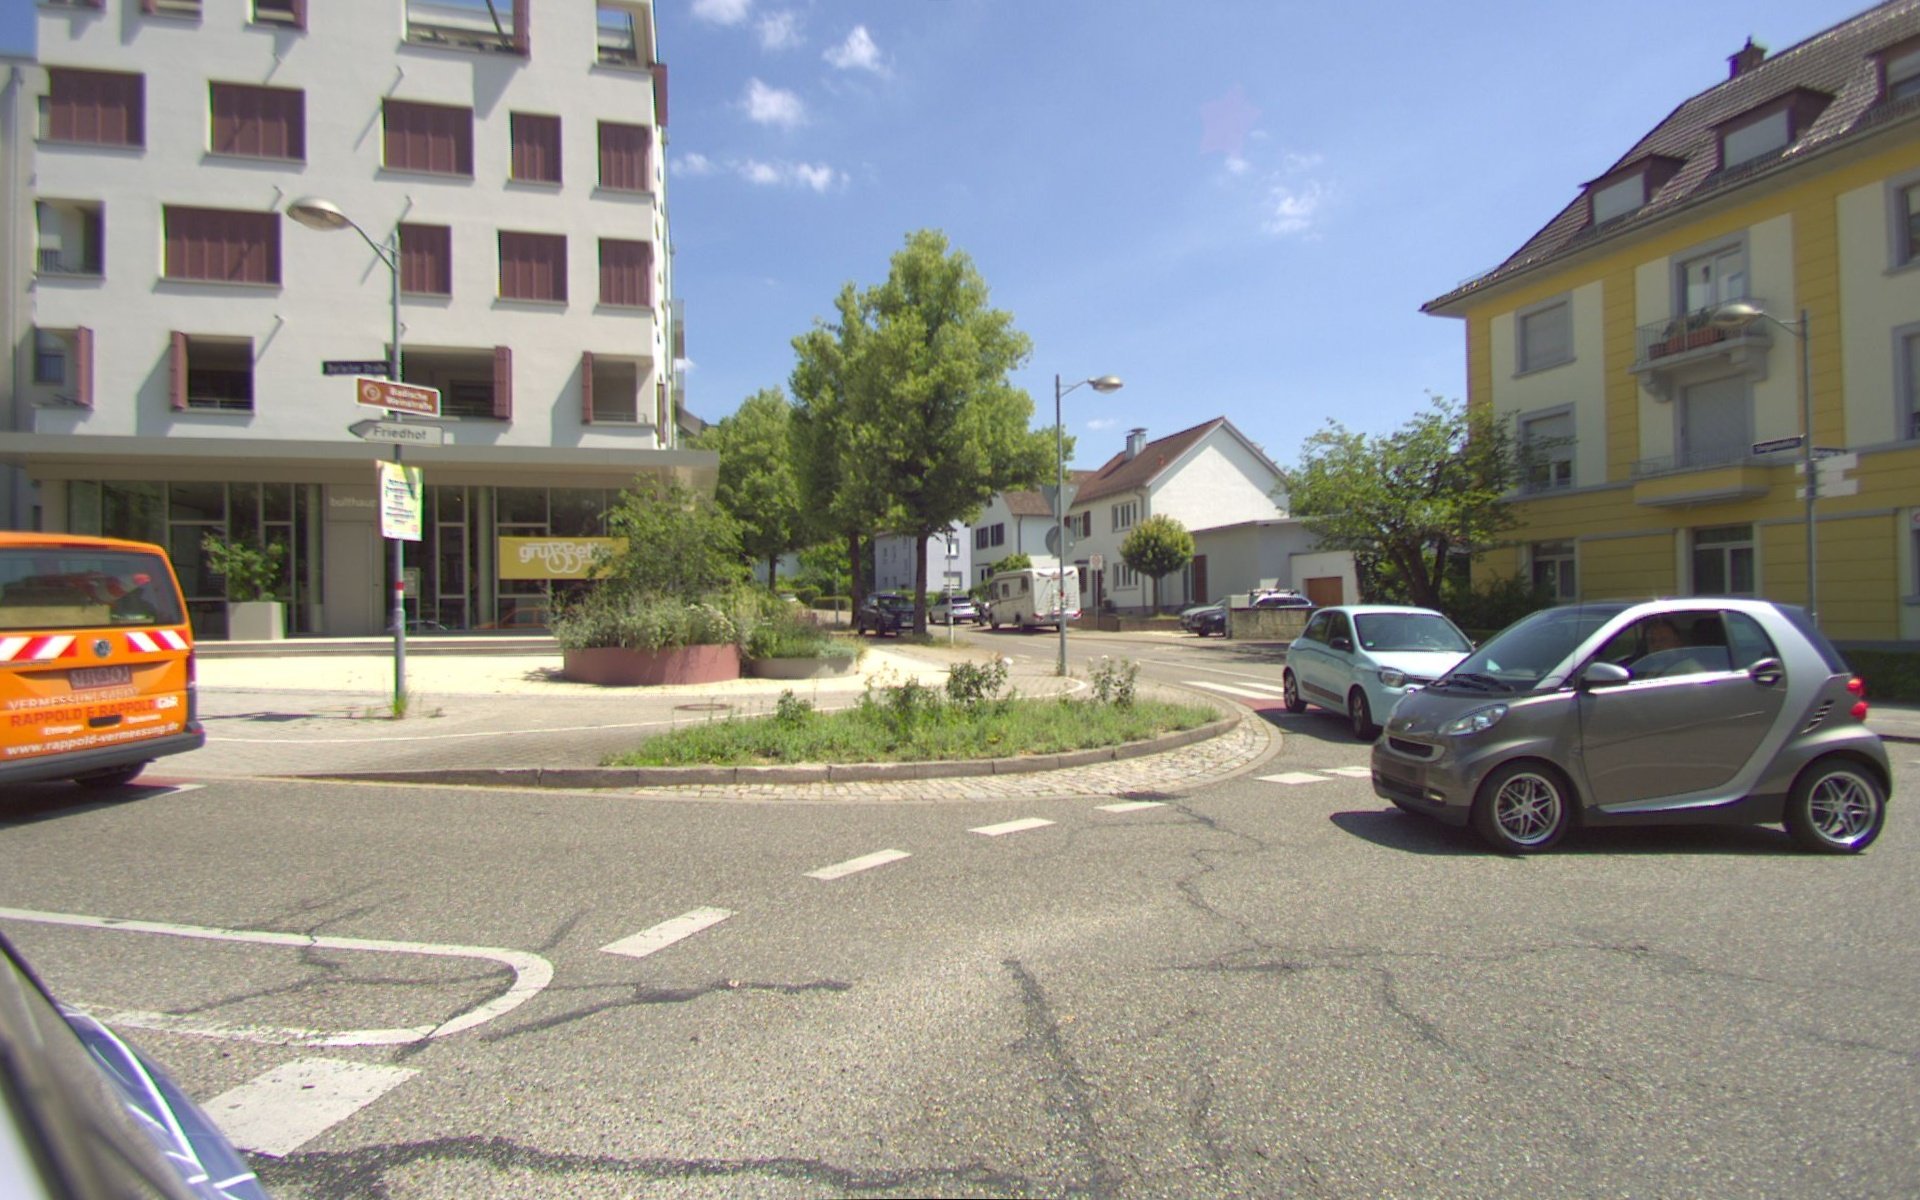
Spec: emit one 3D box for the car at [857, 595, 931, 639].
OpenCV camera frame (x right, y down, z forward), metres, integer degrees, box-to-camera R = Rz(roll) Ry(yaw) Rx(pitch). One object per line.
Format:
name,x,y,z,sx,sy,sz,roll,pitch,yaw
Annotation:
car,-2.488,0.605,37.126,1.726,1.516,4.005,0,0,-19

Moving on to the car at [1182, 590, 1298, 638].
car,9.980,0.481,36.043,3.924,1.598,1.762,0,0,-31

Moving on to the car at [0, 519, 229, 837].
car,-8.319,0.446,7.320,4.961,1.974,1.946,1,1,7

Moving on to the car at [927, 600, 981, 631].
car,-0.342,0.777,52.845,1.726,1.516,4.004,0,0,-17

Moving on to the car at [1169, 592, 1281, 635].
car,10.315,0.504,39.451,3.923,1.598,1.762,0,0,-21

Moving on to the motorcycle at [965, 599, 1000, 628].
motorcycle,1.104,0.640,48.670,0.736,1.329,2.212,1,0,29

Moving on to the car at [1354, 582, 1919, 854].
car,4.270,0.700,6.621,2.752,1.542,1.568,0,-2,3

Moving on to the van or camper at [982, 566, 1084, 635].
van or camper,3.010,0.005,43.449,2.236,2.658,5.904,-3,1,-18

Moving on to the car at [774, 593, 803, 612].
car,-16.156,0.199,95.083,1.965,1.678,4.013,1,1,-20

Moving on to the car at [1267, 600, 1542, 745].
car,5.412,0.777,12.969,1.637,1.536,4.162,-1,0,0
